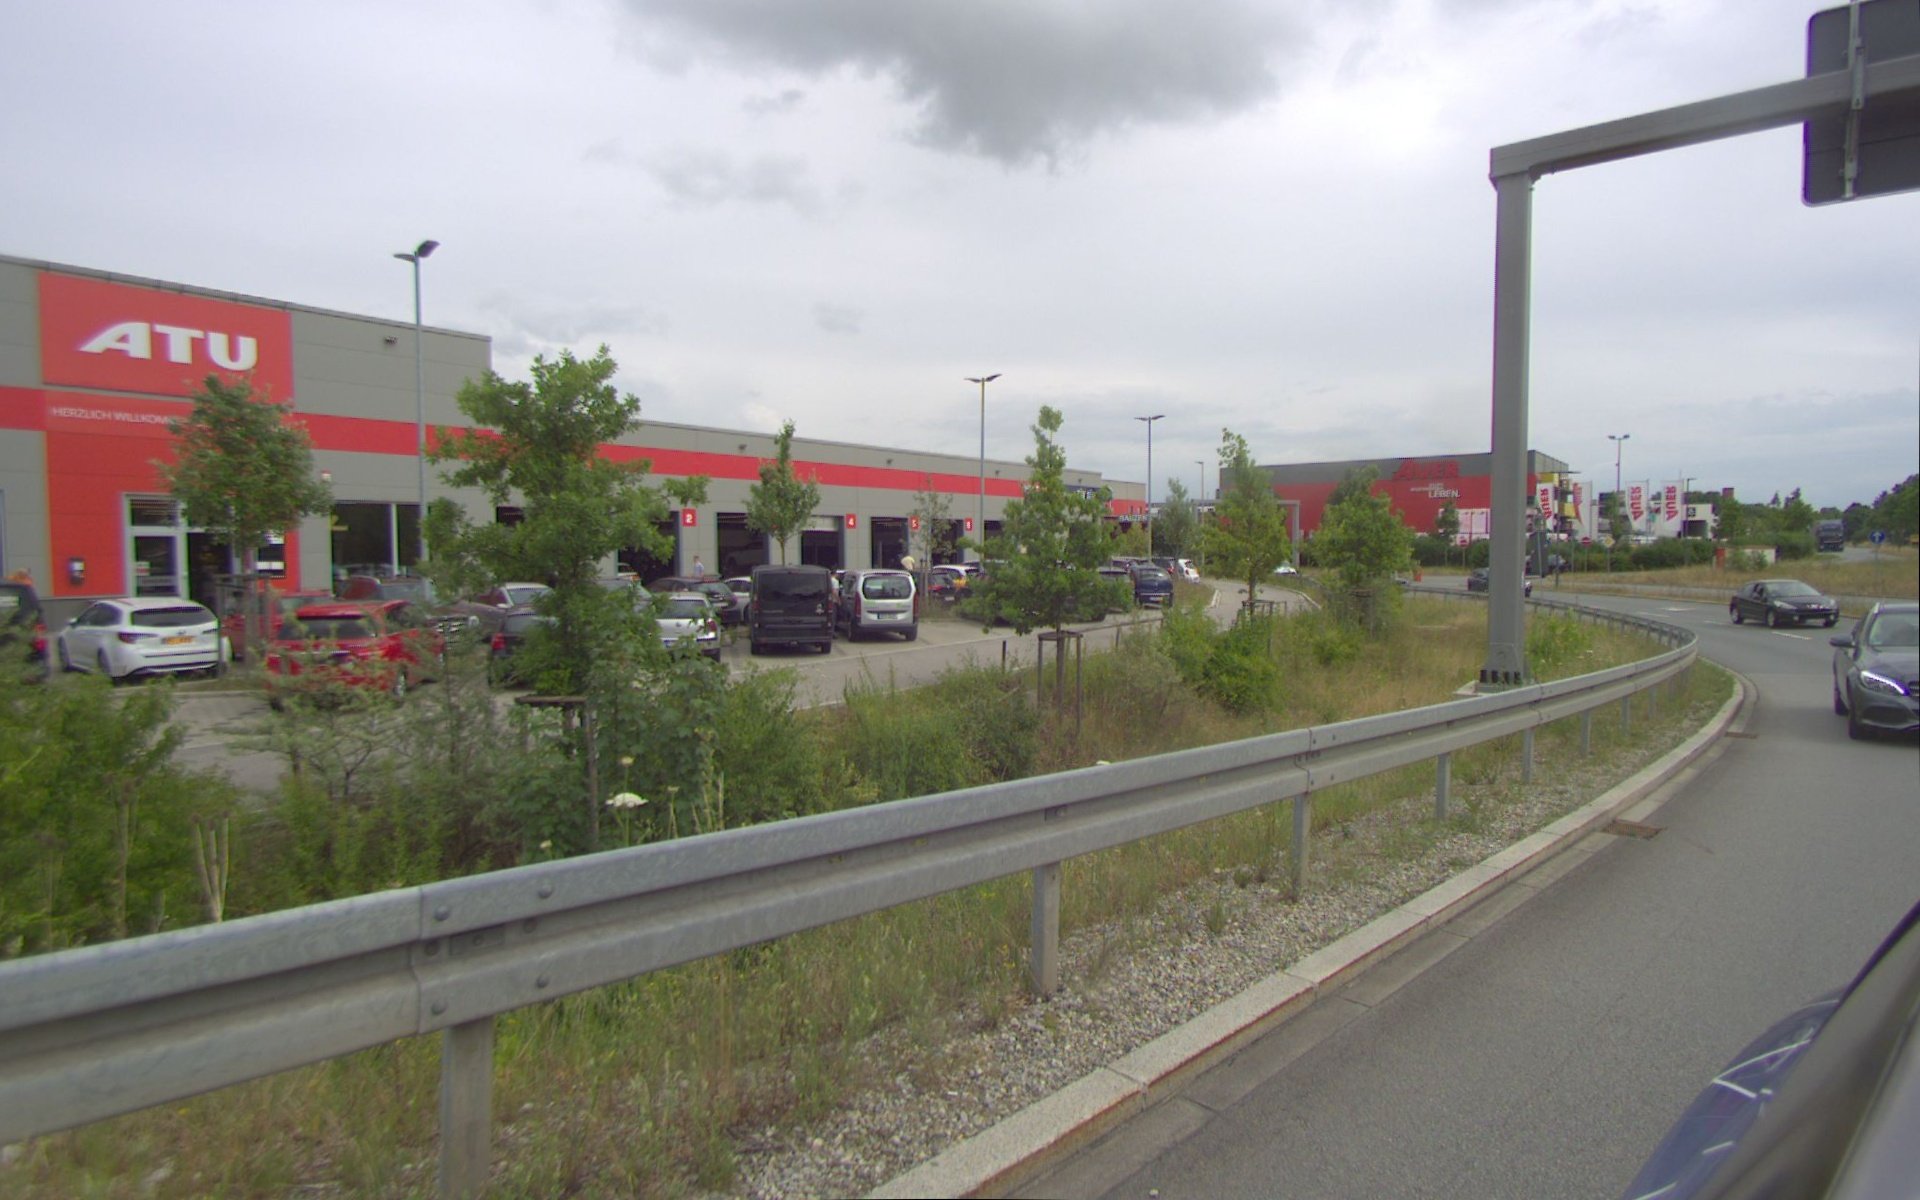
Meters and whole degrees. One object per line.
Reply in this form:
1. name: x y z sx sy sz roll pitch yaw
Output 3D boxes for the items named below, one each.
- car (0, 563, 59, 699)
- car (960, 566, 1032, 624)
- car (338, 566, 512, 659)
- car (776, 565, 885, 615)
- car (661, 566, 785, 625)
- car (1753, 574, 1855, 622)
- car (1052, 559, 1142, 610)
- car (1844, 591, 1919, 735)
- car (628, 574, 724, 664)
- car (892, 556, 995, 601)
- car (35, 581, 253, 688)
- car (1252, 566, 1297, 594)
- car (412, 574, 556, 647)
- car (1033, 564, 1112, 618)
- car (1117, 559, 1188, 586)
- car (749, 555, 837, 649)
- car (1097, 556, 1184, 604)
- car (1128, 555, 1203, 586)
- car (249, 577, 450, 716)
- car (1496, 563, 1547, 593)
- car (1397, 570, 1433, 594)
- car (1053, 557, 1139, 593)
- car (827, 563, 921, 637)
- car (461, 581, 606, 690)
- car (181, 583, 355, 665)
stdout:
1. car: -16.619 0.413 16.305 5.045 1.996 1.976 2 3 34
2. car: 1.035 -0.178 31.284 1.617 1.642 4.082 1 1 -6
3. car: -11.794 0.265 22.226 4.172 1.859 1.572 -1 1 35
4. car: -4.557 -0.367 35.434 3.674 1.658 1.572 0 2 34
5. car: -7.240 -0.131 30.787 3.674 1.658 1.572 -1 1 34
6. car: 27.260 -0.092 32.823 1.749 1.334 3.922 -1 2 28
7. car: 4.969 -0.603 37.226 1.791 1.641 4.088 0 3 -15
8. car: 11.237 0.652 11.430 1.757 1.438 4.031 -2 -2 40
9. car: -6.075 0.331 22.013 1.734 1.598 4.088 0 4 -12
10. car: -0.651 -0.801 38.453 3.674 1.564 1.572 -1 1 34
11. car: -15.193 0.530 18.781 4.644 1.661 1.892 2 3 34
12. car: 18.976 -1.226 61.225 1.561 1.564 3.700 -2 1 0
13. car: -11.832 0.201 25.094 3.674 1.658 1.572 1 3 34
14. car: 3.601 -0.297 33.072 1.701 1.642 4.082 1 1 -6
15. car: 9.926 -1.440 52.128 3.300 1.340 1.463 1 2 34
16. car: -4.054 -0.037 24.091 1.866 1.931 4.088 0 4 -12
17. car: 6.964 -0.810 39.414 1.700 1.641 4.088 0 4 -15
18. car: 11.053 -1.585 54.491 3.674 1.564 1.572 -1 1 34
19. car: -9.753 0.618 16.540 1.734 1.597 4.090 -2 6 -16
20. car: 30.529 -1.215 54.989 1.850 1.429 4.499 0 3 36
21. car: 29.788 -1.183 66.286 1.838 1.429 3.915 -1 3 20
22. car: 6.371 -1.183 47.637 3.674 1.564 1.572 -1 1 34
23. car: -2.388 -0.069 27.142 1.866 1.732 4.088 -1 3 -14
24. car: -7.735 0.544 18.717 1.734 1.598 4.088 0 4 -12
25. car: -14.444 0.464 21.054 4.172 1.518 1.572 -1 1 35
